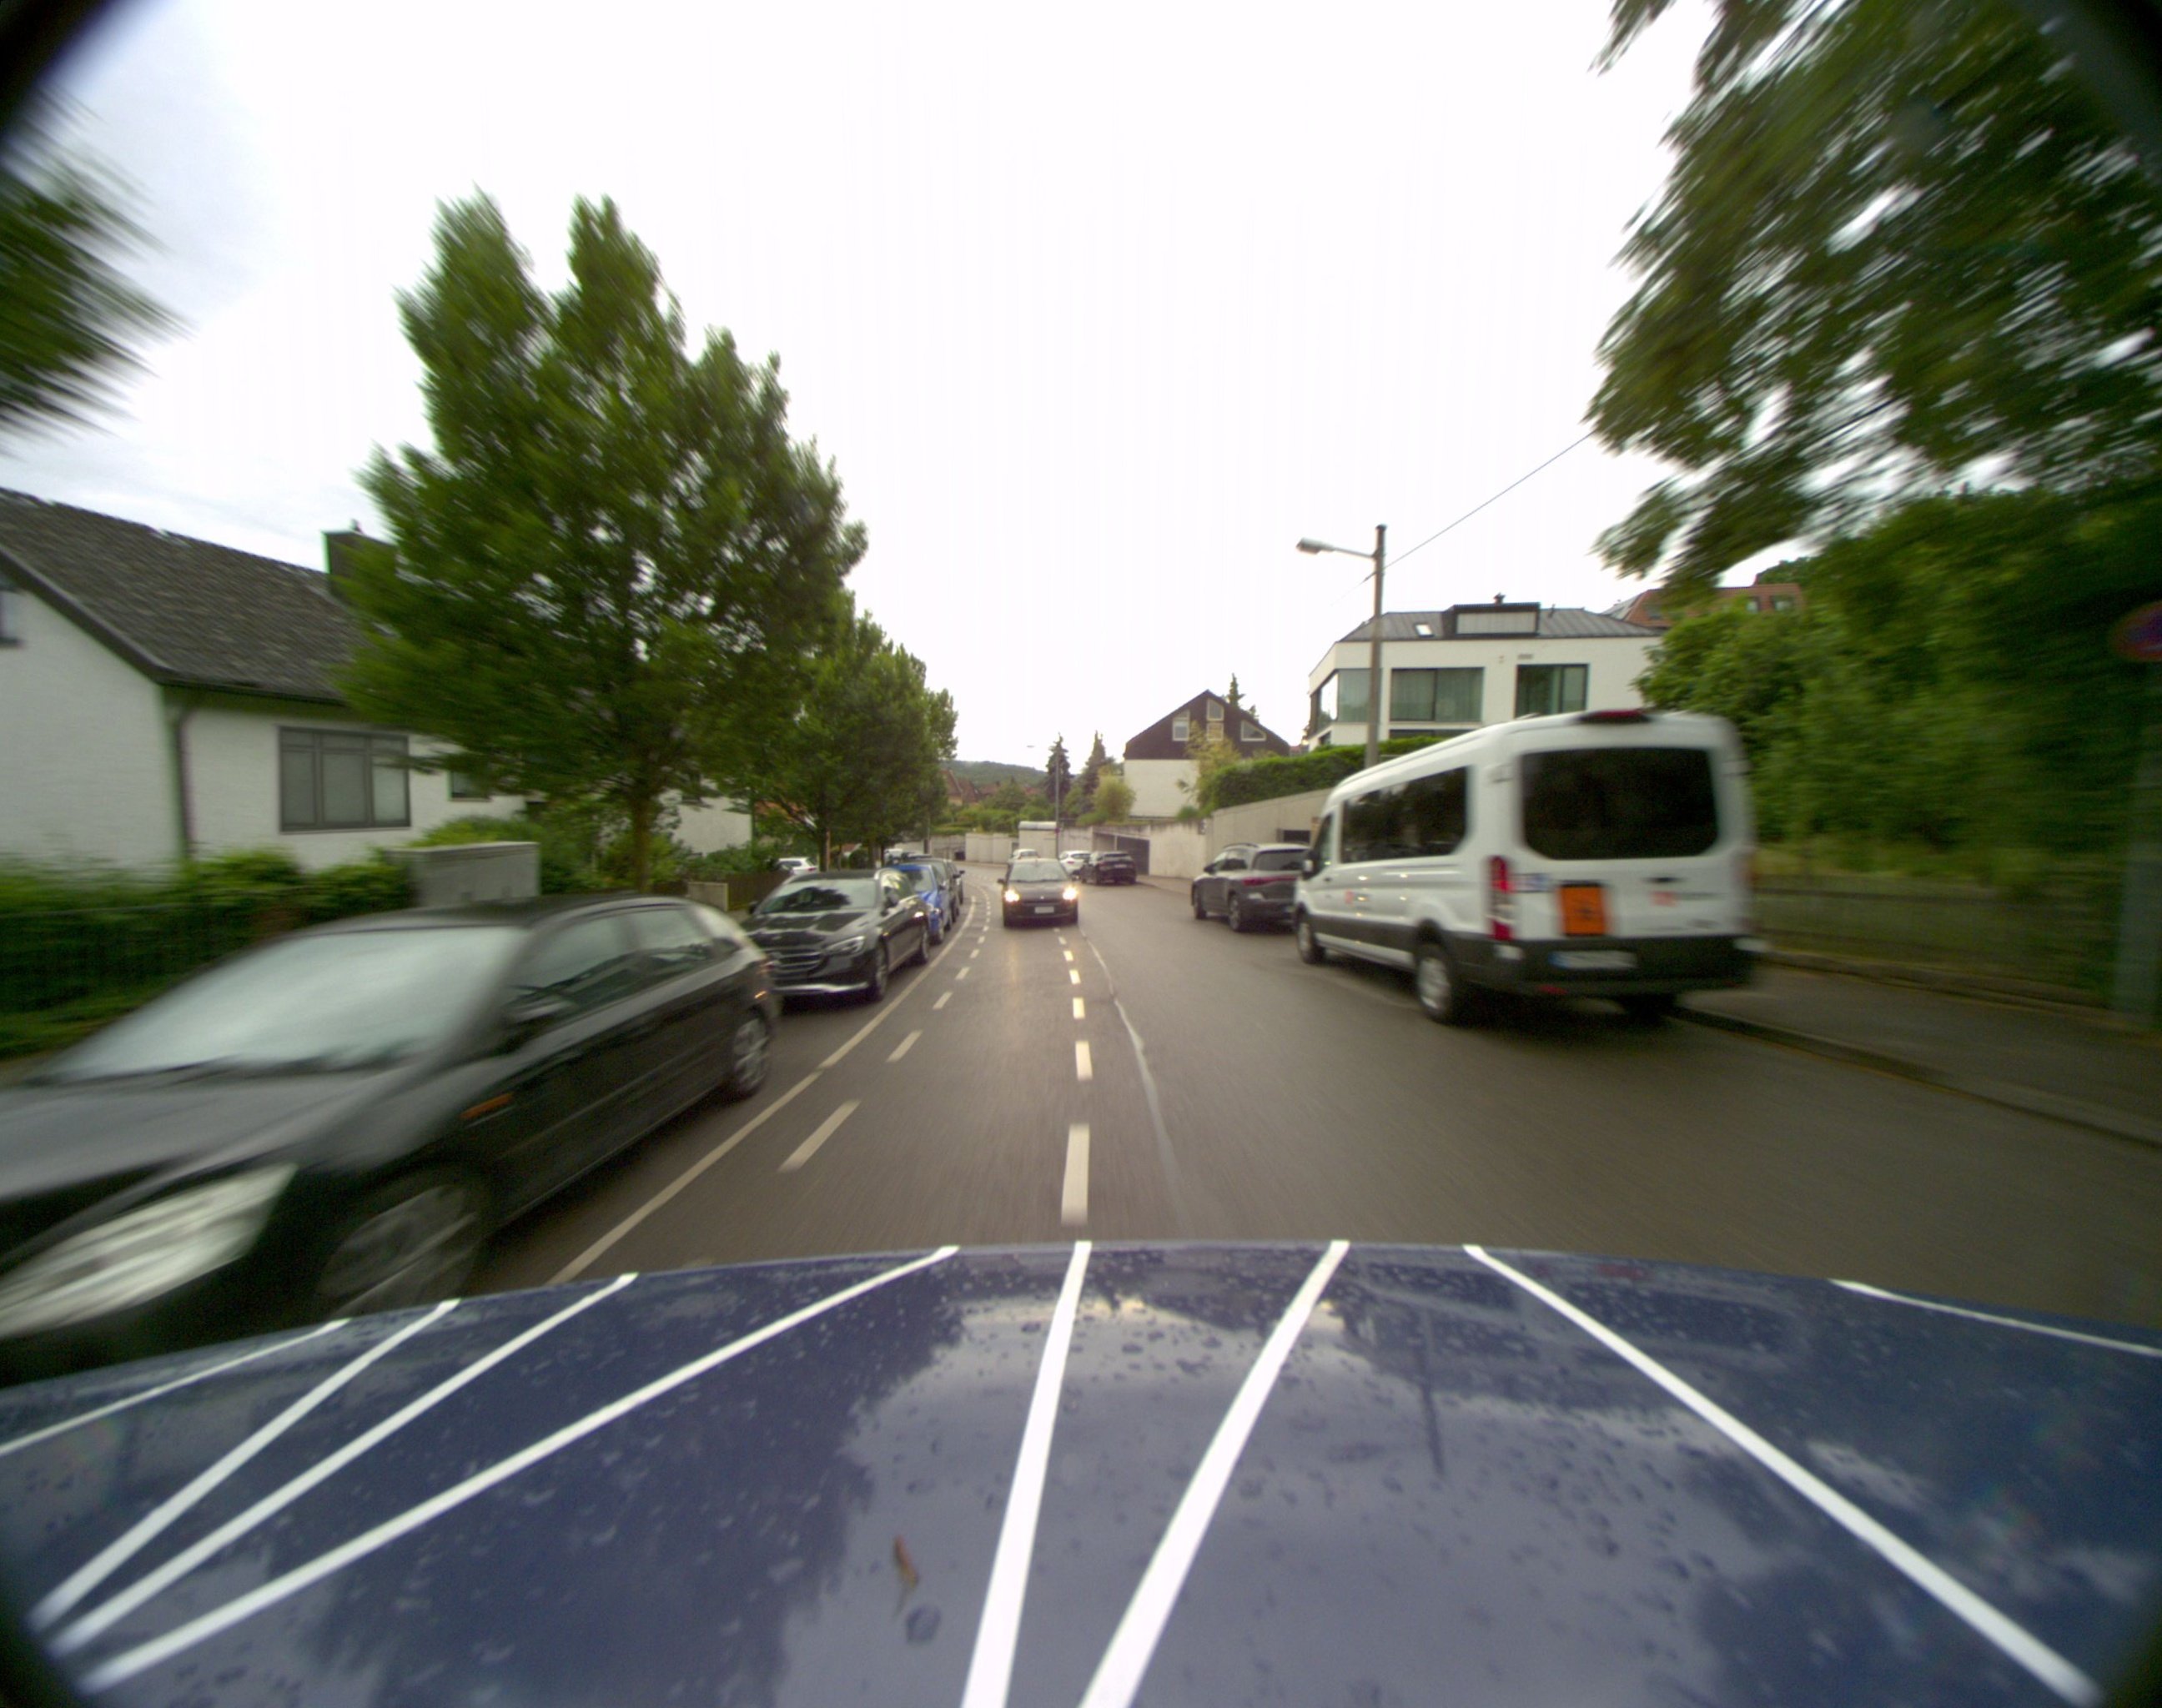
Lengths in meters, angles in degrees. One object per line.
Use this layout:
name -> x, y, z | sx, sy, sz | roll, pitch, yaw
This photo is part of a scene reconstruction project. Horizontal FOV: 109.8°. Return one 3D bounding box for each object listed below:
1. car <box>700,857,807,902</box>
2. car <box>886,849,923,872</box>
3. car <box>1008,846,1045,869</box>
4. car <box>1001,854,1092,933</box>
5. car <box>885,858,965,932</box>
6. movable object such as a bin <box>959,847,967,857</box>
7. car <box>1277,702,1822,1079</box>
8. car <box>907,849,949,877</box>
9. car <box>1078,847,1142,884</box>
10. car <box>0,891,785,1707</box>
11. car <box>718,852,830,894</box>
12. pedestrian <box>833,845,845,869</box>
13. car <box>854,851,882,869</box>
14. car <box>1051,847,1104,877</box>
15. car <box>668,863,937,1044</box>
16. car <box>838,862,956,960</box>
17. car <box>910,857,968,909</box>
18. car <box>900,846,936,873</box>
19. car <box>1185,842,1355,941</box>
car -> -13.844, 1.043, 32.262 | 3.691, 1.457, 1.777 | -5, 3, -7
car -> -13.482, 0.441, 57.795 | 1.863, 1.572, 4.847 | -3, 2, -23
car -> -3.797, 0.212, 52.102 | 1.633, 1.507, 3.826 | -2, 1, -18
car -> -0.942, 0.839, 18.300 | 1.893, 1.521, 4.054 | -3, 1, -6
car -> -3.839, 0.947, 19.093 | 1.631, 1.554, 3.020 | -3, 1, -6
movable object such as a bin -> -12.484, -0.190, 80.208 | 0.608, 0.987, 0.601 | -3, 3, 12
car -> 4.006, 0.227, 8.253 | 2.099, 2.535, 6.096 | -1, 1, -1
car -> -9.488, 0.515, 46.831 | 1.869, 1.461, 5.047 | -5, 2, -18
car -> 1.177, 0.462, 33.706 | 1.719, 1.451, 4.676 | -2, 1, -12
car -> -3.039, 1.061, 3.451 | 1.647, 1.416, 4.286 | -4, 1, 0
car -> -14.032, 0.840, 35.011 | 4.316, 1.458, 1.932 | -4, 4, -8
pedestrian -> -17.717, 0.216, 55.665 | 0.763, 1.710, 0.900 | 0, 1, -24
car -> -20.152, 0.563, 71.765 | 1.664, 1.481, 3.991 | -5, 2, -28
car -> -0.245, 0.401, 40.375 | 1.839, 1.432, 4.034 | -2, 1, -15
car -> -3.176, 1.007, 9.843 | 1.780, 1.544, 4.726 | -3, 1, -2
car -> -3.514, 1.009, 15.215 | 1.659, 1.511, 3.997 | -3, 1, -5
car -> -4.729, 0.913, 25.746 | 1.674, 1.463, 3.706 | -4, 2, -8
car -> -11.288, 0.346, 52.338 | 2.062, 1.647, 5.227 | -3, 1, -16
car -> 3.644, 0.622, 15.610 | 1.902, 1.681, 4.542 | -1, 1, -6
